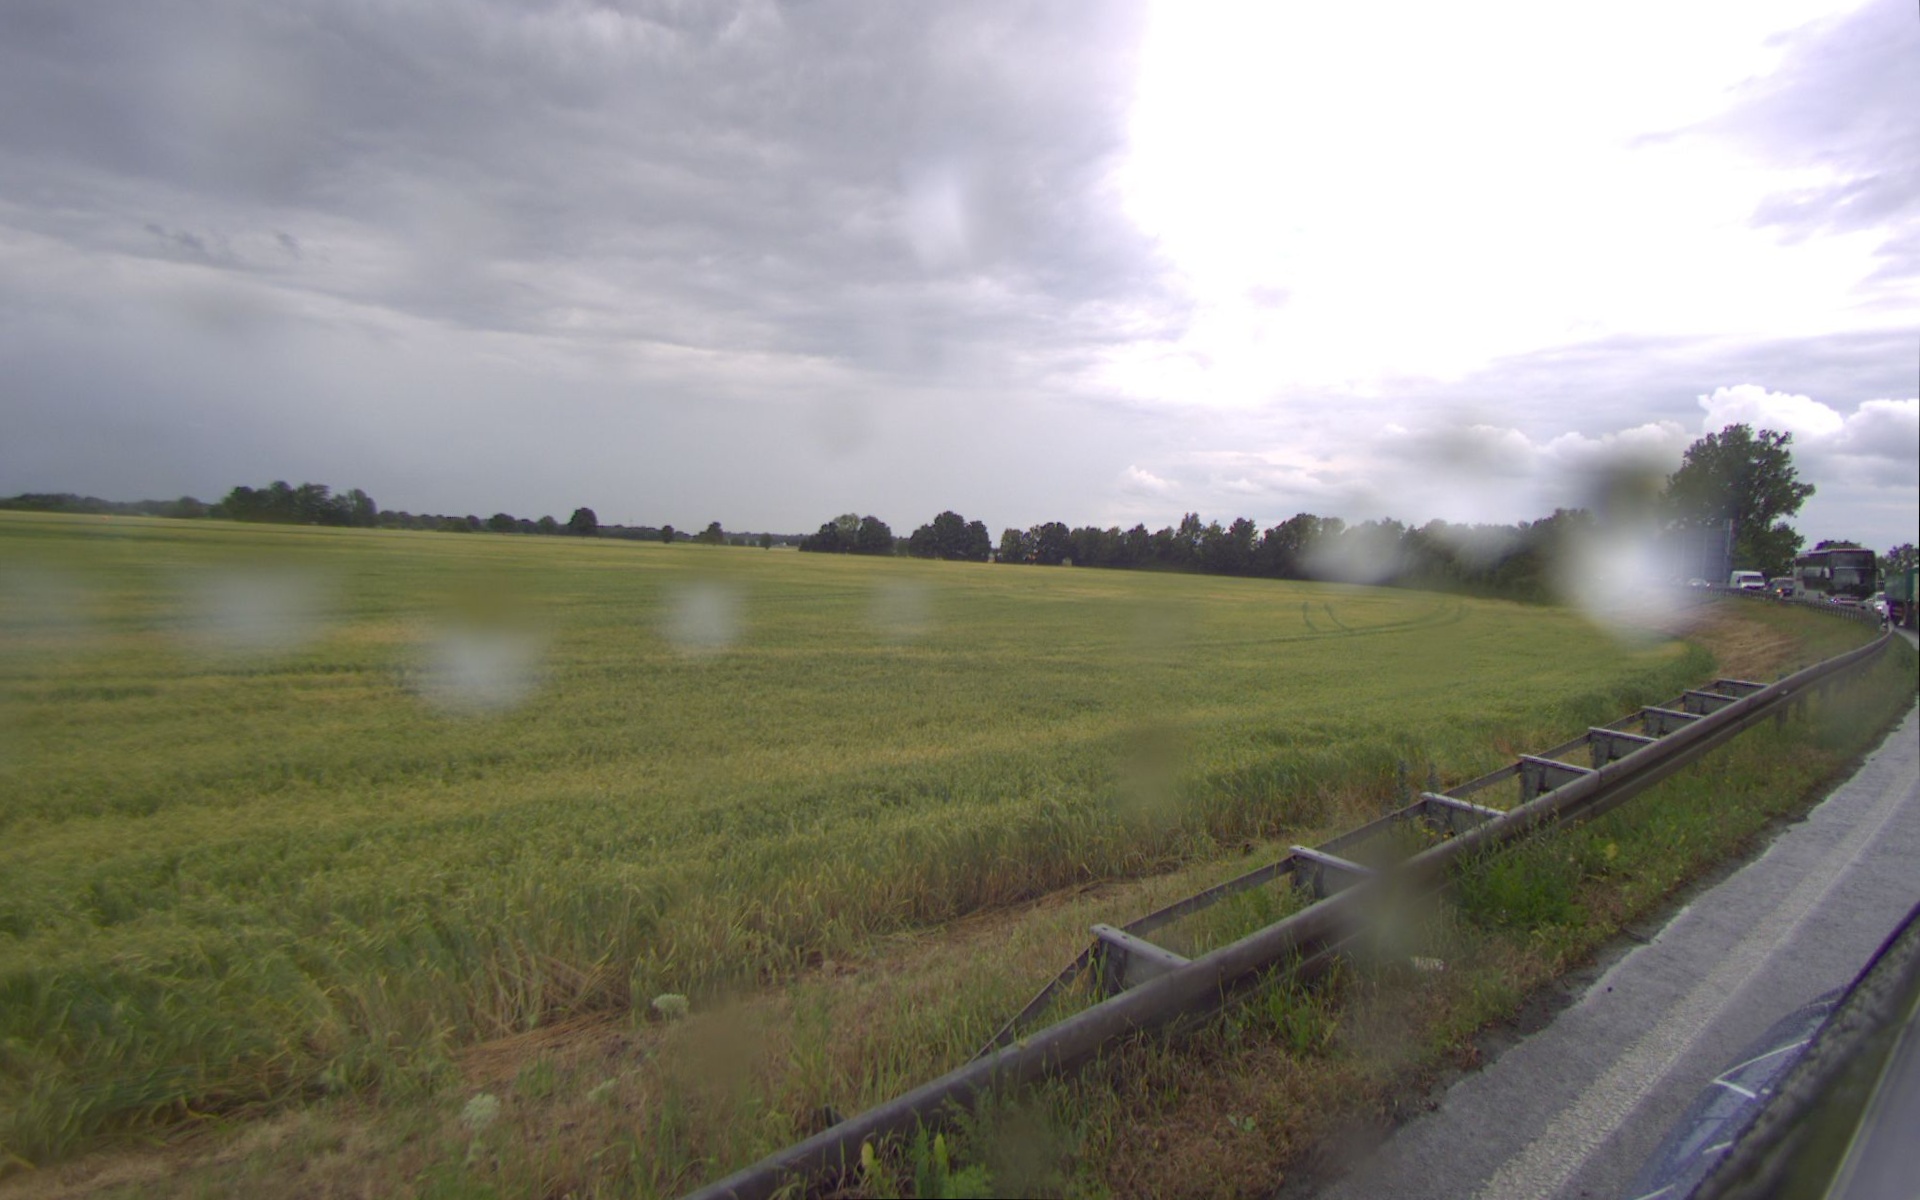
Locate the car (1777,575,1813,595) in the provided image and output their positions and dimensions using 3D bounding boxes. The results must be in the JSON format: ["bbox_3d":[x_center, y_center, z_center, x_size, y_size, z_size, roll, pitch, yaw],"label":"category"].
[{"bbox_3d":[71.494,-1.291,86.672,1.800,1.597,3.956,0,1,31],"label":"car"}]

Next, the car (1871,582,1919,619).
[{"bbox_3d":[50.289,-0.025,53.961,2.031,1.865,5.266,0,1,36],"label":"car"}]

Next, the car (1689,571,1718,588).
[{"bbox_3d":[91.321,-2.532,124.340,1.978,2.039,4.198,0,1,24],"label":"car"}]

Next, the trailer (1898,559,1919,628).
[{"bbox_3d":[39.960,-0.277,40.203,2.971,2.666,15.460,0,1,39],"label":"trailer"}]

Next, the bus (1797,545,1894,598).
[{"bbox_3d":[61.670,-2.048,70.863,2.944,3.353,14.667,0,2,33],"label":"bus"}]

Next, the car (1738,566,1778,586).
[{"bbox_3d":[80.479,-2.418,102.145,1.979,2.039,5.291,0,1,25],"label":"car"}]

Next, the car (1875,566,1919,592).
[{"bbox_3d":[70.015,-1.565,75.555,1.808,1.948,4.131,0,1,32],"label":"car"}]
